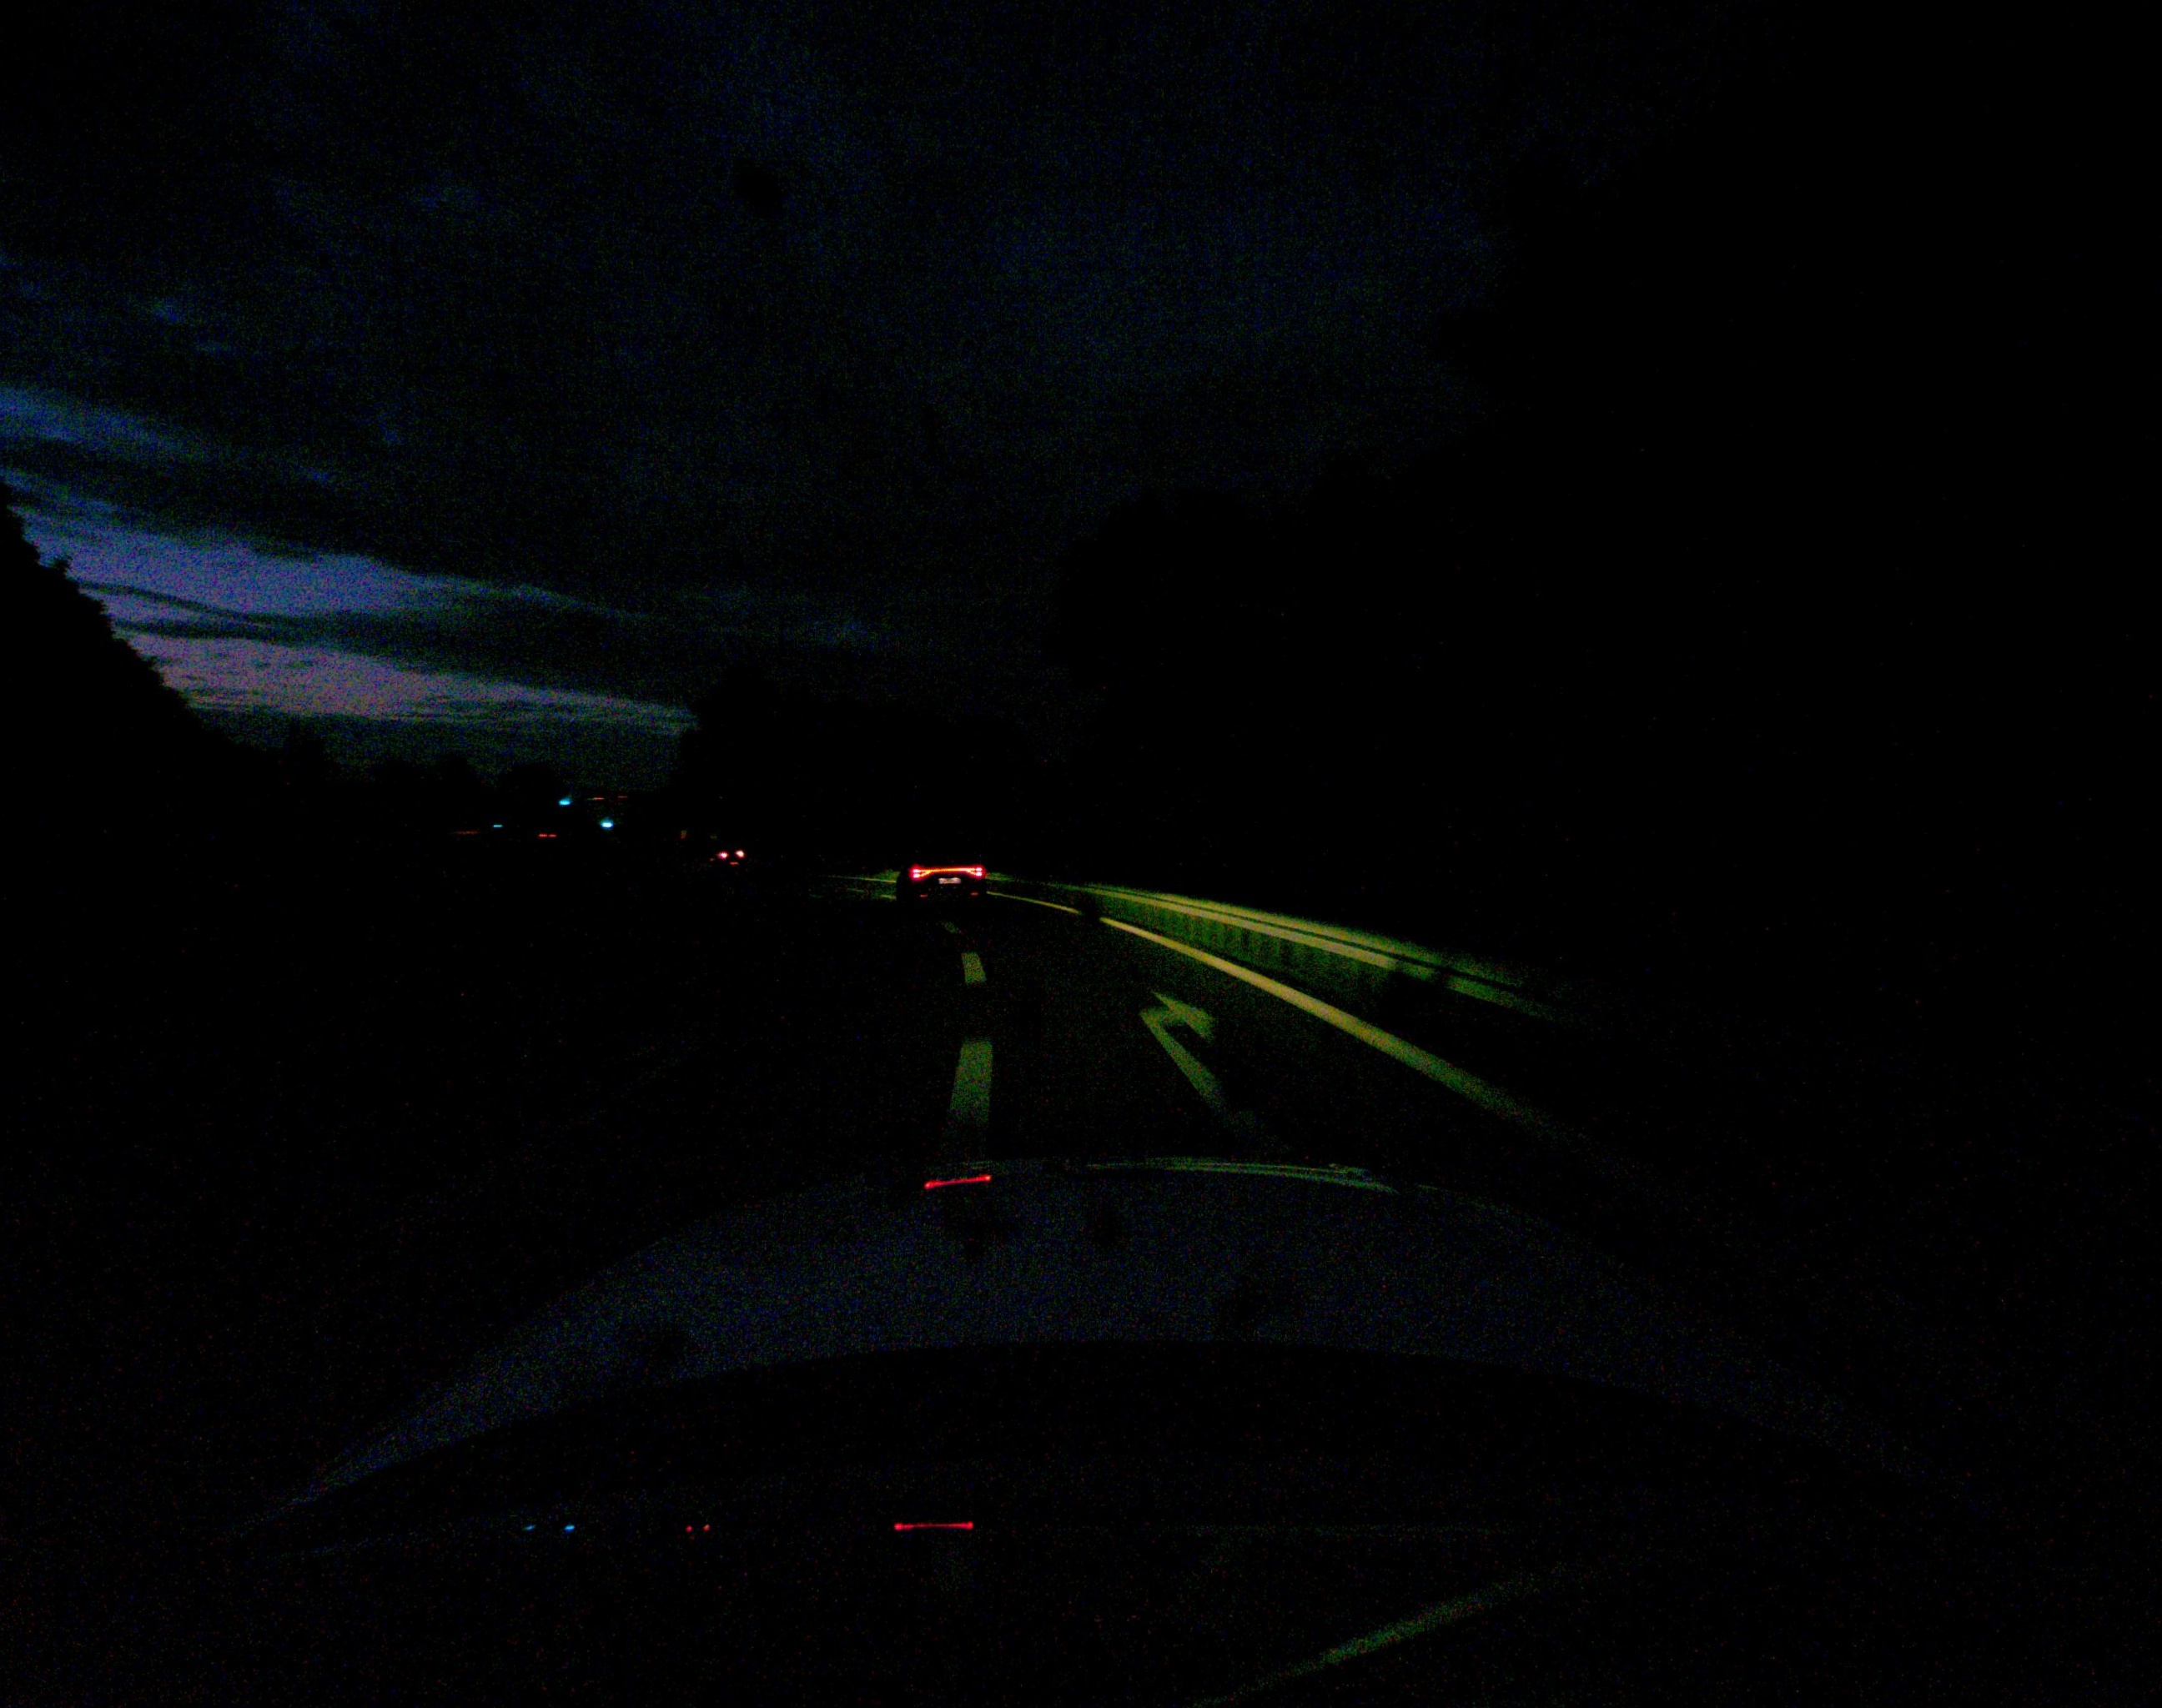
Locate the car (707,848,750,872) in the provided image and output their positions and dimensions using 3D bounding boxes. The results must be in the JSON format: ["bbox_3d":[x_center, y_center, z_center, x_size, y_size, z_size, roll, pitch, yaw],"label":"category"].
[{"bbox_3d":[-25.348,0.431,58.565,1.796,1.653,3.953,0,-1,-40],"label":"car"}]

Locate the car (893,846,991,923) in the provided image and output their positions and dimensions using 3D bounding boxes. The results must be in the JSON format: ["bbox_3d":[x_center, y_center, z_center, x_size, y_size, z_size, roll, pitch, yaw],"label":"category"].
[{"bbox_3d":[-3.558,0.670,20.211,1.905,1.619,4.532,-2,0,-16],"label":"car"}]
